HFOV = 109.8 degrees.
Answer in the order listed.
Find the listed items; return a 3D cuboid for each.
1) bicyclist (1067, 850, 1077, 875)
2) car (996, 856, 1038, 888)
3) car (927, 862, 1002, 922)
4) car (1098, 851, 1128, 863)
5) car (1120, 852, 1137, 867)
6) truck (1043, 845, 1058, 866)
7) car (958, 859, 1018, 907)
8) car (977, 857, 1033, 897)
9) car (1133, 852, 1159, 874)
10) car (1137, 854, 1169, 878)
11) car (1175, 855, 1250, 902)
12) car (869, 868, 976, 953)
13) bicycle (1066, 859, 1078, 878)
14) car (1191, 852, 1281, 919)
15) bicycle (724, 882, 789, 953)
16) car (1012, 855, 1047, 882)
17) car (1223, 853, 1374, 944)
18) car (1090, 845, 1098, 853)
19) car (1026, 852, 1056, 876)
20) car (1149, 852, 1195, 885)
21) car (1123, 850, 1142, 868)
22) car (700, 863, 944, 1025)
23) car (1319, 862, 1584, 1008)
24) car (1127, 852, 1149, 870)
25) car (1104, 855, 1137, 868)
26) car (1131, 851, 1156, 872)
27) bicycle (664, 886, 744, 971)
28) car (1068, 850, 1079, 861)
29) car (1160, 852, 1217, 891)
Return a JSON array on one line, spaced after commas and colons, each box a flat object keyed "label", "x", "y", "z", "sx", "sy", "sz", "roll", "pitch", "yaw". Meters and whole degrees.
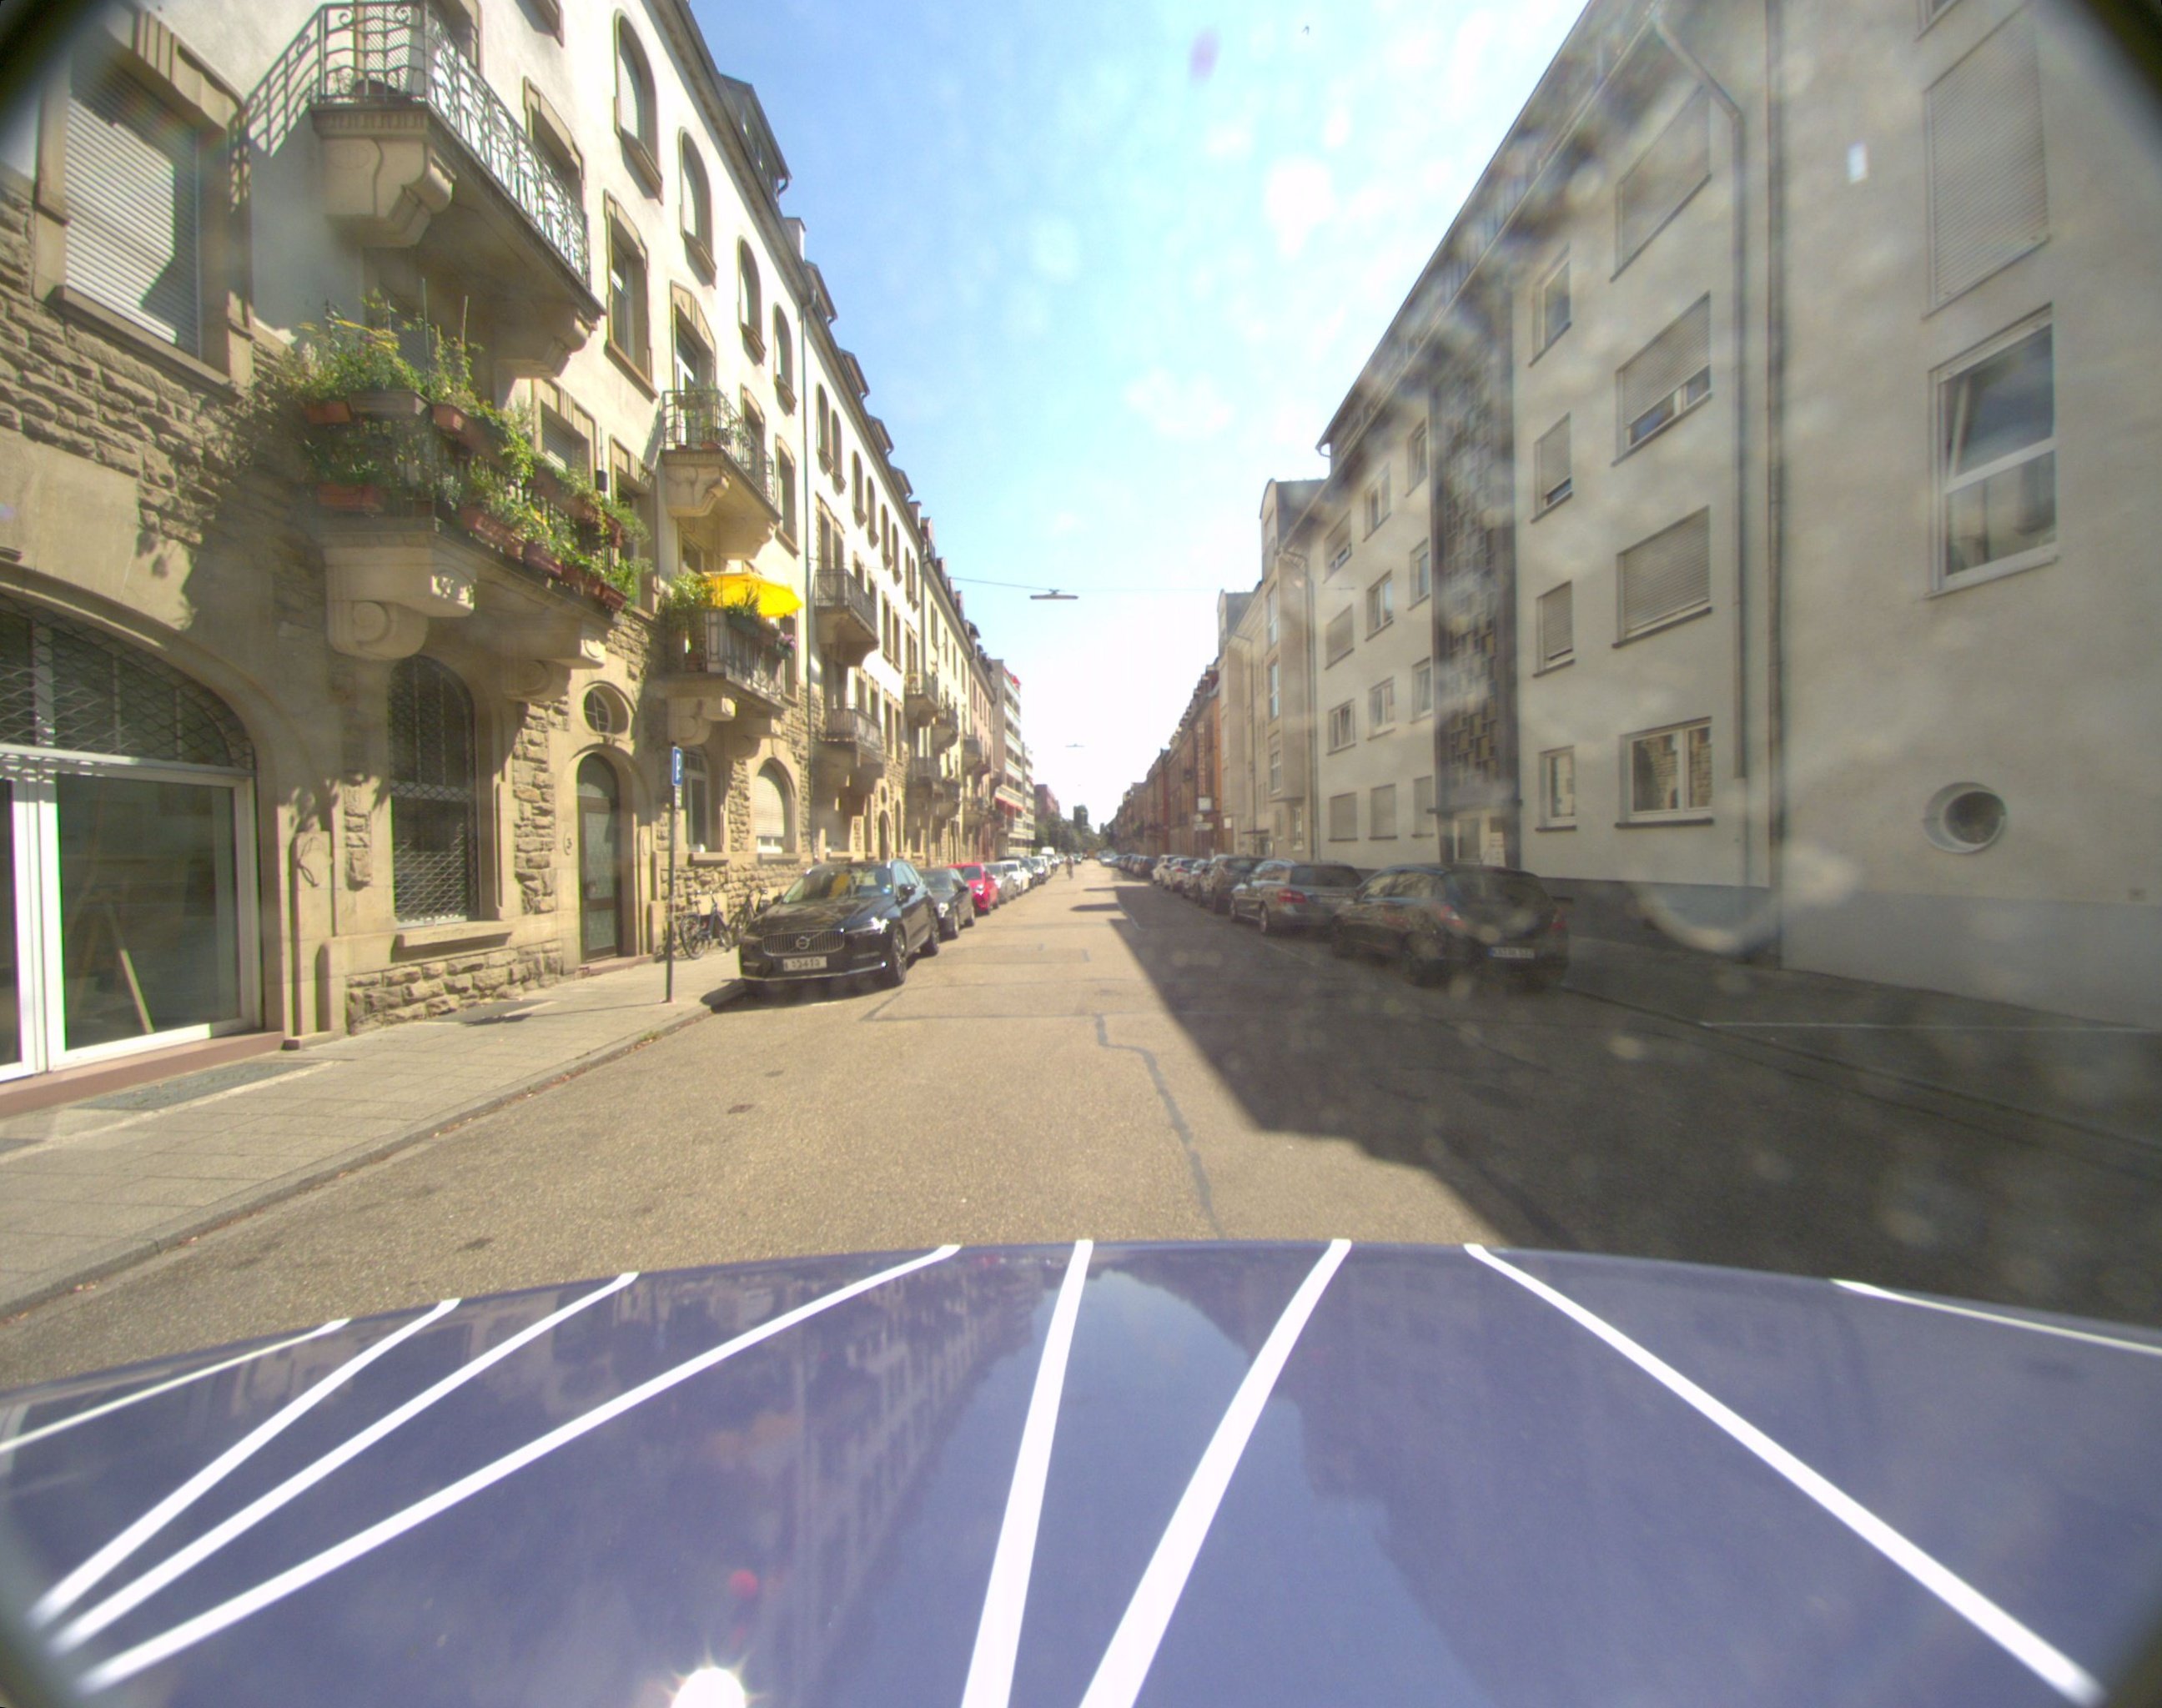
[{"label": "bicyclist", "x": -0.577, "y": 0.543, "z": 49.153, "sx": 0.645, "sy": 1.640, "sz": 0.622, "roll": -1, "pitch": 1, "yaw": 1}, {"label": "car", "x": -3.163, "y": 0.863, "z": 38.403, "sx": 1.741, "sy": 1.449, "sz": 4.667, "roll": -1, "pitch": 1, "yaw": 0}, {"label": "car", "x": -3.325, "y": 1.041, "z": 22.344, "sx": 1.574, "sy": 1.444, "sz": 3.842, "roll": -3, "pitch": 1, "yaw": 0}, {"label": "car", "x": 4.373, "y": 0.426, "z": 103.543, "sx": 3.997, "sy": 1.491, "sz": 1.652, "roll": -1, "pitch": 1, "yaw": 1}, {"label": "car", "x": 4.772, "y": 0.527, "z": 76.516, "sx": 1.450, "sy": 1.391, "sz": 3.525, "roll": 3, "pitch": 1, "yaw": 1}, {"label": "truck", "x": -4.060, "y": 0.148, "z": 101.405, "sx": 1.869, "sy": 2.715, "sz": 4.507, "roll": -1, "pitch": 1, "yaw": 0}, {"label": "car", "x": -3.309, "y": 0.996, "z": 27.632, "sx": 1.593, "sy": 1.444, "sz": 3.855, "roll": -3, "pitch": 1, "yaw": 0}, {"label": "car", "x": -3.208, "y": 0.948, "z": 32.863, "sx": 1.720, "sy": 1.444, "sz": 4.597, "roll": -3, "pitch": 1, "yaw": 2}, {"label": "car", "x": 4.740, "y": 0.647, "z": 56.167, "sx": 1.632, "sy": 1.421, "sz": 3.678, "roll": 3, "pitch": 1, "yaw": 1}, {"label": "car", "x": 4.767, "y": 0.754, "z": 50.924, "sx": 1.781, "sy": 1.421, "sz": 3.836, "roll": 3, "pitch": 1, "yaw": 1}, {"label": "car", "x": 4.447, "y": 0.782, "z": 26.358, "sx": 1.769, "sy": 1.385, "sz": 4.347, "roll": 1, "pitch": 1, "yaw": -1}, {"label": "car", "x": -3.218, "y": 1.089, "z": 16.092, "sx": 1.516, "sy": 1.390, "sz": 3.971, "roll": -3, "pitch": 1, "yaw": -2}, {"label": "bicycle", "x": -0.579, "y": 0.908, "z": 49.042, "sx": 0.671, "sy": 1.169, "sz": 2.094, "roll": -1, "pitch": 1, "yaw": 1}, {"label": "car", "x": 4.181, "y": 0.785, "z": 21.071, "sx": 1.608, "sy": 1.634, "sz": 3.976, "roll": 1, "pitch": 1, "yaw": -1}, {"label": "bicycle", "x": -6.298, "y": 1.197, "z": 14.837, "sx": 0.442, "sy": 1.201, "sz": 1.775, "roll": -1, "pitch": 1, "yaw": 1}, {"label": "car", "x": -2.951, "y": 0.803, "z": 44.363, "sx": 1.828, "sy": 1.423, "sz": 4.488, "roll": -2, "pitch": 0, "yaw": -2}, {"label": "car", "x": 4.237, "y": 0.776, "z": 15.605, "sx": 1.661, "sy": 1.510, "sz": 4.670, "roll": 1, "pitch": 1, "yaw": -1}, {"label": "car", "x": 3.215, "y": -1.303, "z": 190.776, "sx": 1.785, "sy": 2.002, "sz": 4.000, "roll": -1, "pitch": 1, "yaw": 3}, {"label": "car", "x": -2.868, "y": 0.698, "z": 55.044, "sx": 1.651, "sy": 1.613, "sz": 4.092, "roll": -1, "pitch": 1, "yaw": 4}, {"label": "car", "x": 4.751, "y": 0.733, "z": 40.159, "sx": 1.633, "sy": 1.540, "sz": 3.851, "roll": 3, "pitch": 1, "yaw": -3}, {"label": "car", "x": 4.854, "y": 0.459, "z": 71.579, "sx": 1.450, "sy": 1.633, "sz": 3.525, "roll": 3, "pitch": 1, "yaw": -1}, {"label": "car", "x": -3.213, "y": 1.001, "z": 10.528, "sx": 1.838, "sy": 1.558, "sz": 4.603, "roll": -3, "pitch": 1, "yaw": -2}, {"label": "car", "x": 4.640, "y": 0.904, "z": 10.216, "sx": 1.571, "sy": 1.483, "sz": 3.893, "roll": 1, "pitch": 1, "yaw": -1}, {"label": "car", "x": 4.876, "y": 0.576, "z": 65.382, "sx": 1.450, "sy": 1.464, "sz": 3.525, "roll": 3, "pitch": 1, "yaw": -2}, {"label": "car", "x": 4.807, "y": 0.909, "z": 93.306, "sx": 3.997, "sy": 1.422, "sz": 1.678, "roll": -1, "pitch": 1, "yaw": 1}, {"label": "car", "x": 5.000, "y": 0.577, "z": 61.036, "sx": 1.450, "sy": 1.534, "sz": 3.524, "roll": 3, "pitch": 1, "yaw": -3}, {"label": "bicycle", "x": -6.175, "y": 1.187, "z": 12.532, "sx": 0.385, "sy": 1.201, "sz": 1.775, "roll": -1, "pitch": 1, "yaw": 1}, {"label": "car", "x": -1.202, "y": 0.246, "z": 115.853, "sx": 1.625, "sy": 1.601, "sz": 3.596, "roll": -1, "pitch": 1, "yaw": 0}, {"label": "car", "x": 4.606, "y": 0.718, "z": 33.139, "sx": 1.735, "sy": 1.486, "sz": 4.347, "roll": 2, "pitch": 1, "yaw": -1}]
